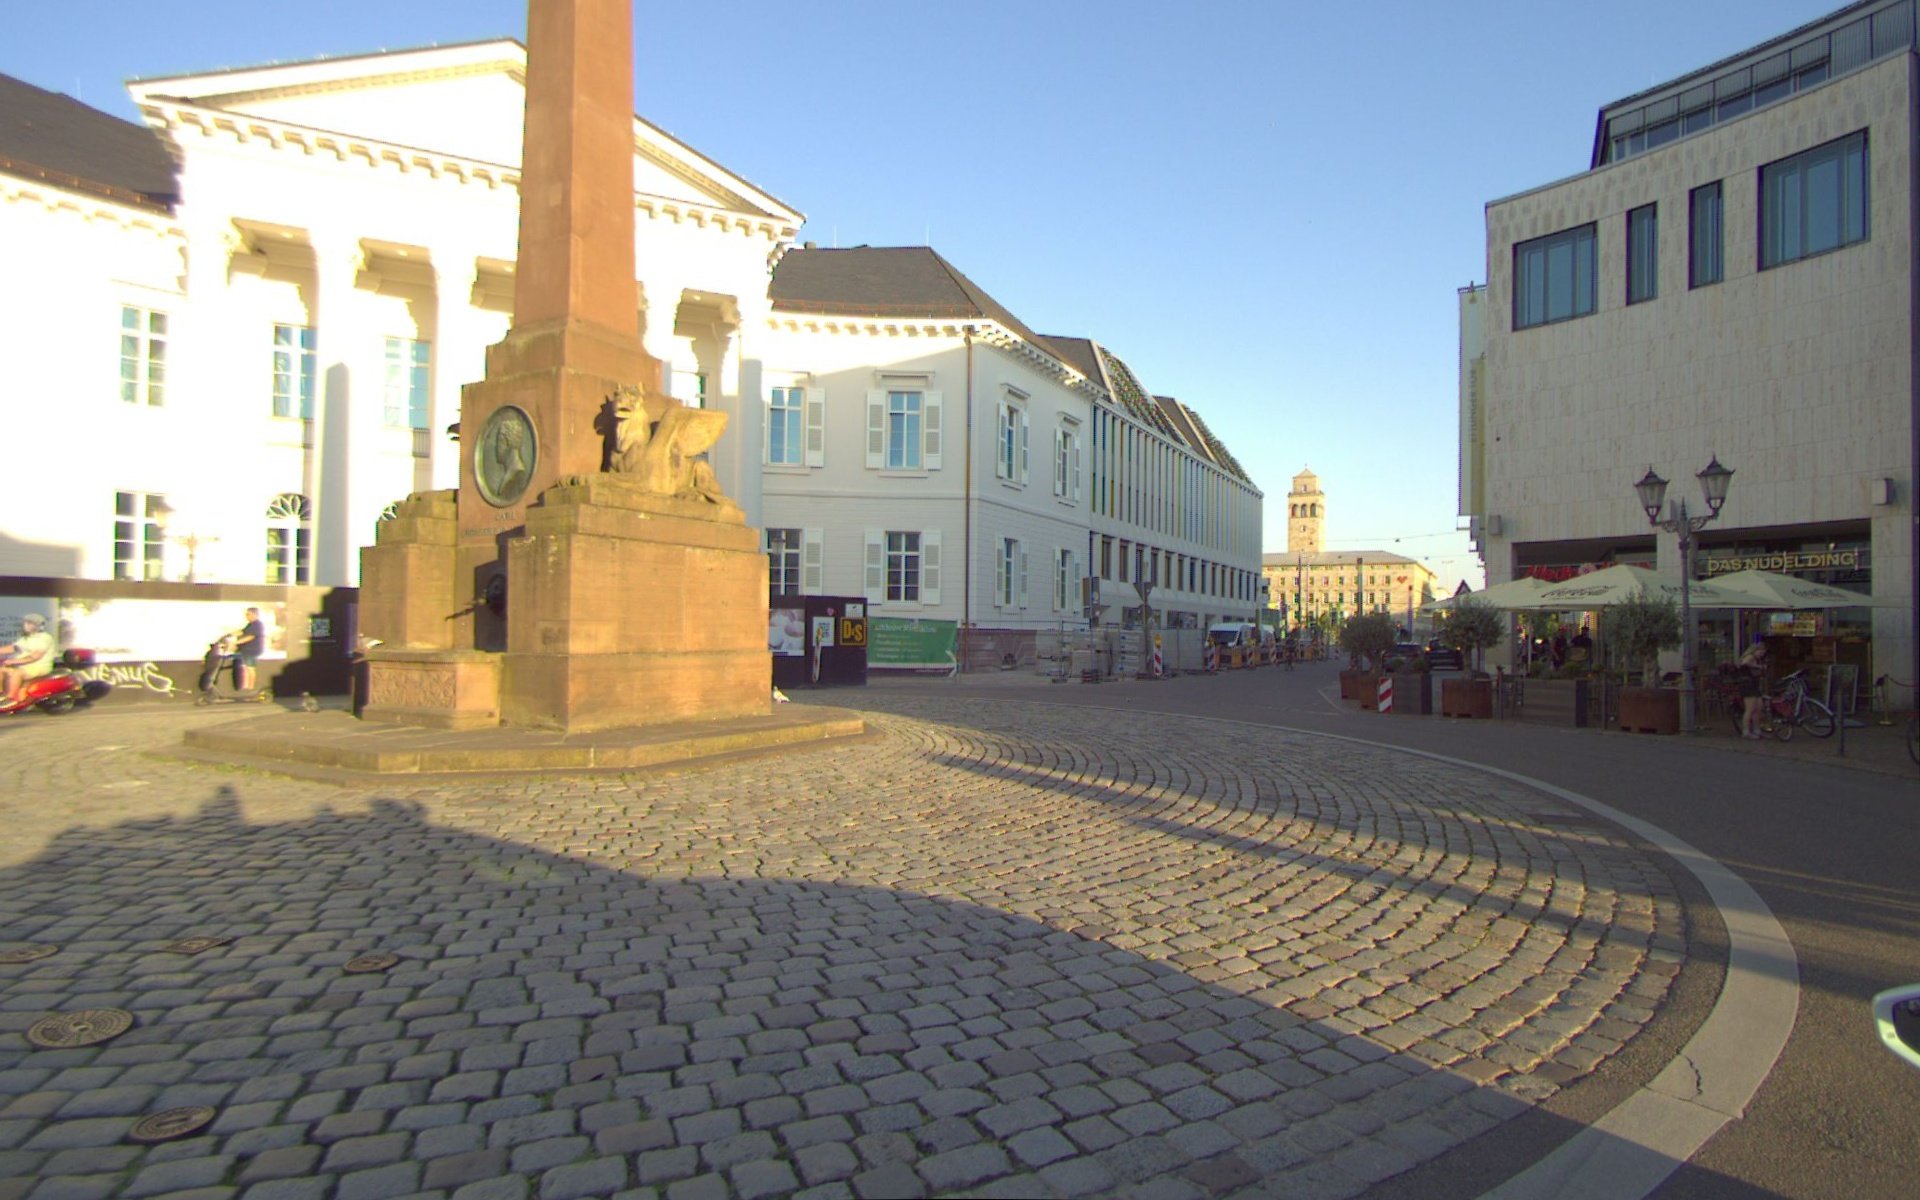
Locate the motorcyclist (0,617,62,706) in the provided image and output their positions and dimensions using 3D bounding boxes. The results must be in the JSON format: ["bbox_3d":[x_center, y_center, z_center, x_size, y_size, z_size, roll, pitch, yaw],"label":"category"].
[{"bbox_3d":[-14.885,0.956,15.852,0.791,1.361,0.858,0,-2,34],"label":"motorcyclist"}]

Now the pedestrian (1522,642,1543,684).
[{"bbox_3d":[24.267,2.659,42.606,0.753,1.704,0.875,0,0,28],"label":"pedestrian"}]

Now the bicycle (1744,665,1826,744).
[{"bbox_3d":[13.587,1.690,16.524,1.888,1.143,0.601,0,-1,-37],"label":"bicycle"}]

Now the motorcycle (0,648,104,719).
[{"bbox_3d":[-14.909,1.305,15.820,0.791,1.059,2.027,0,-2,34],"label":"motorcycle"}]

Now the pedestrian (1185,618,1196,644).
[{"bbox_3d":[14.459,1.934,63.019,0.534,1.598,0.579,0,-2,27],"label":"pedestrian"}]

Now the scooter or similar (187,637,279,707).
[{"bbox_3d":[-13.969,1.365,19.319,1.349,1.288,0.679,2,-2,-42],"label":"scooter or similar"}]

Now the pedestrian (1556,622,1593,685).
[{"bbox_3d":[18.610,1.607,30.406,0.660,1.886,0.714,2,-2,-24],"label":"pedestrian"}]

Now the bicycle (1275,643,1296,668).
[{"bbox_3d":[16.323,2.758,50.350,0.783,1.233,2.232,0,-2,24],"label":"bicycle"}]

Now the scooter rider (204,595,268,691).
[{"bbox_3d":[-13.941,0.822,19.350,0.902,1.786,0.678,2,-2,-42],"label":"scooter rider"}]

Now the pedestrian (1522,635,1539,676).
[{"bbox_3d":[25.797,2.508,45.441,0.624,1.798,0.774,0,0,28],"label":"pedestrian"}]

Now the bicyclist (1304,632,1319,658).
[{"bbox_3d":[21.685,2.778,62.017,0.784,1.552,0.973,0,-2,26],"label":"bicyclist"}]

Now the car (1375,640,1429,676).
[{"bbox_3d":[20.269,2.637,46.006,1.769,1.509,4.186,-4,-4,29],"label":"car"}]

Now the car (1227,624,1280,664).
[{"bbox_3d":[19.614,2.953,66.919,2.141,2.502,5.991,0,-2,28],"label":"car"}]

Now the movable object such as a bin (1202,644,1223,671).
[{"bbox_3d":[14.251,3.253,56.665,1.026,1.485,1.394,1,-2,17],"label":"movable object such as a bin"}]

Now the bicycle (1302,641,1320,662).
[{"bbox_3d":[21.650,3.182,61.988,0.784,1.233,2.231,0,-2,26],"label":"bicycle"}]

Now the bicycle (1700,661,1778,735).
[{"bbox_3d":[13.612,1.689,17.535,1.888,1.143,0.601,0,-1,-37],"label":"bicycle"}]

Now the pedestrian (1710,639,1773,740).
[{"bbox_3d":[12.978,1.464,16.685,0.710,1.609,0.740,2,-2,-43],"label":"pedestrian"}]

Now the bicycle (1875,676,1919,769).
[{"bbox_3d":[13.336,1.638,13.696,1.880,1.143,0.603,0,-1,-26],"label":"bicycle"}]

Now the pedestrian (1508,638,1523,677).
[{"bbox_3d":[24.884,2.573,45.006,0.581,1.721,0.695,0,-2,27],"label":"pedestrian"}]

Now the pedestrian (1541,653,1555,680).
[{"bbox_3d":[25.069,2.848,42.831,0.479,1.112,0.601,0,0,28],"label":"pedestrian"}]

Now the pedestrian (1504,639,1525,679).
[{"bbox_3d":[24.301,2.579,44.029,0.753,1.704,0.875,0,0,28],"label":"pedestrian"}]

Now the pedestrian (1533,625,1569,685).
[{"bbox_3d":[17.775,1.646,30.217,0.660,1.768,0.714,2,-2,-25],"label":"pedestrian"}]

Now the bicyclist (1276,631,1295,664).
[{"bbox_3d":[16.333,2.391,50.366,0.783,1.624,1.230,0,-2,24],"label":"bicyclist"}]

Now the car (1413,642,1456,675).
[{"bbox_3d":[25.118,3.088,53.120,1.742,1.659,4.051,-4,-4,29],"label":"car"}]

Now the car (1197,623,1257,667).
[{"bbox_3d":[16.098,2.682,60.361,2.141,2.502,5.990,0,-2,29],"label":"car"}]

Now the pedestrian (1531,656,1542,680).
[{"bbox_3d":[24.986,2.932,43.549,0.413,0.999,0.525,0,0,28],"label":"pedestrian"}]
